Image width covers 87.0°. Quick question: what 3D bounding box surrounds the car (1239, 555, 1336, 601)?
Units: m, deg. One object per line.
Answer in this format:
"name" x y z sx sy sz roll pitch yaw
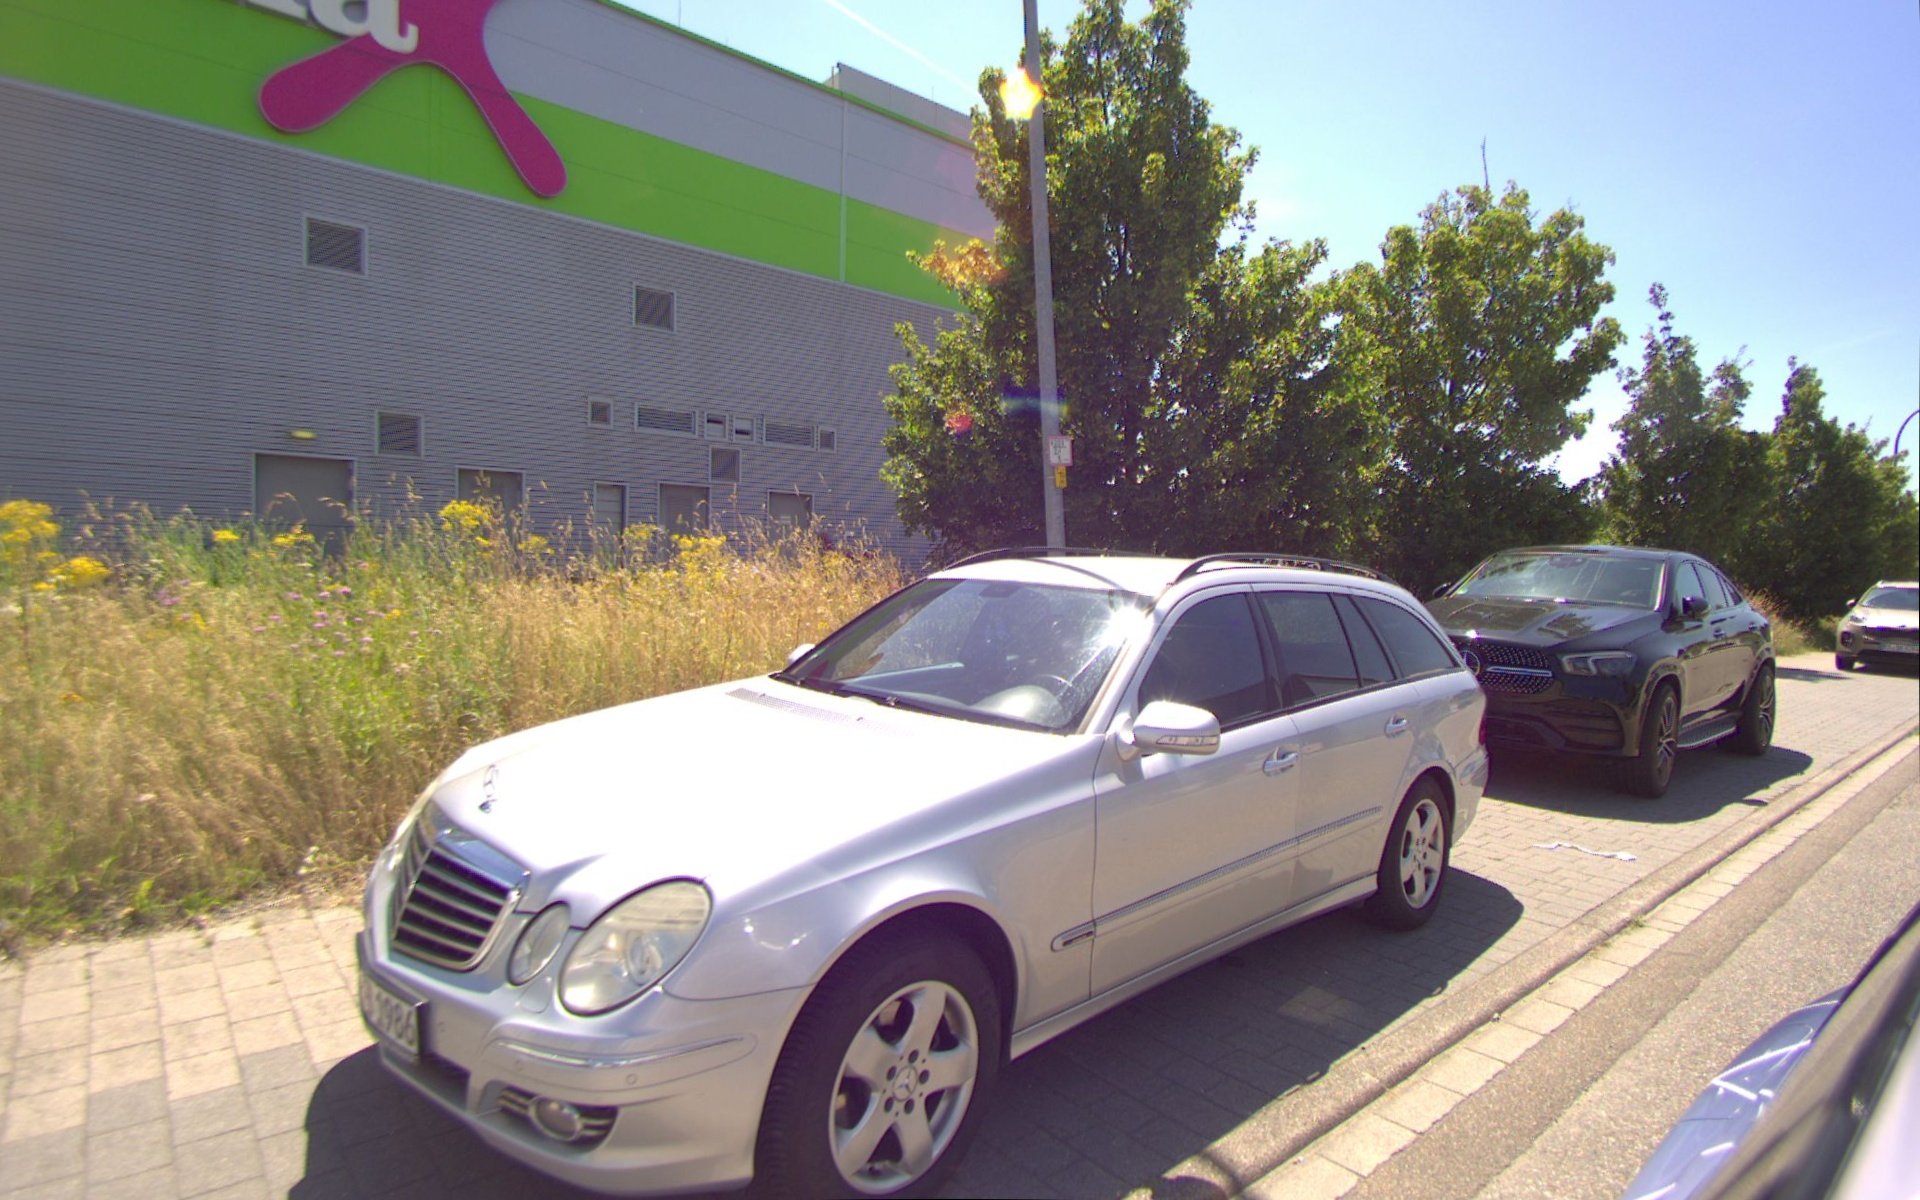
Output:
"car" 14.178 -0.932 43.765 4.323 1.808 1.998 2 2 -41

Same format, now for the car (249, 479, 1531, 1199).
"car" 0.333 0.491 3.782 4.694 1.500 1.807 -1 4 -44

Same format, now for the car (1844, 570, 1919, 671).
"car" 17.813 0.344 18.511 4.380 1.655 1.809 0 4 -41

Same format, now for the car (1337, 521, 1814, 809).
"car" 5.182 0.324 8.262 4.465 1.721 1.954 0 4 -40

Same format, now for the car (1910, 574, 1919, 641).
"car" 26.961 0.244 26.769 4.701 1.719 2.149 0 4 -41

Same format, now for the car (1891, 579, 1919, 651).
"car" 22.810 0.341 23.177 4.554 1.547 1.906 -1 4 -45
